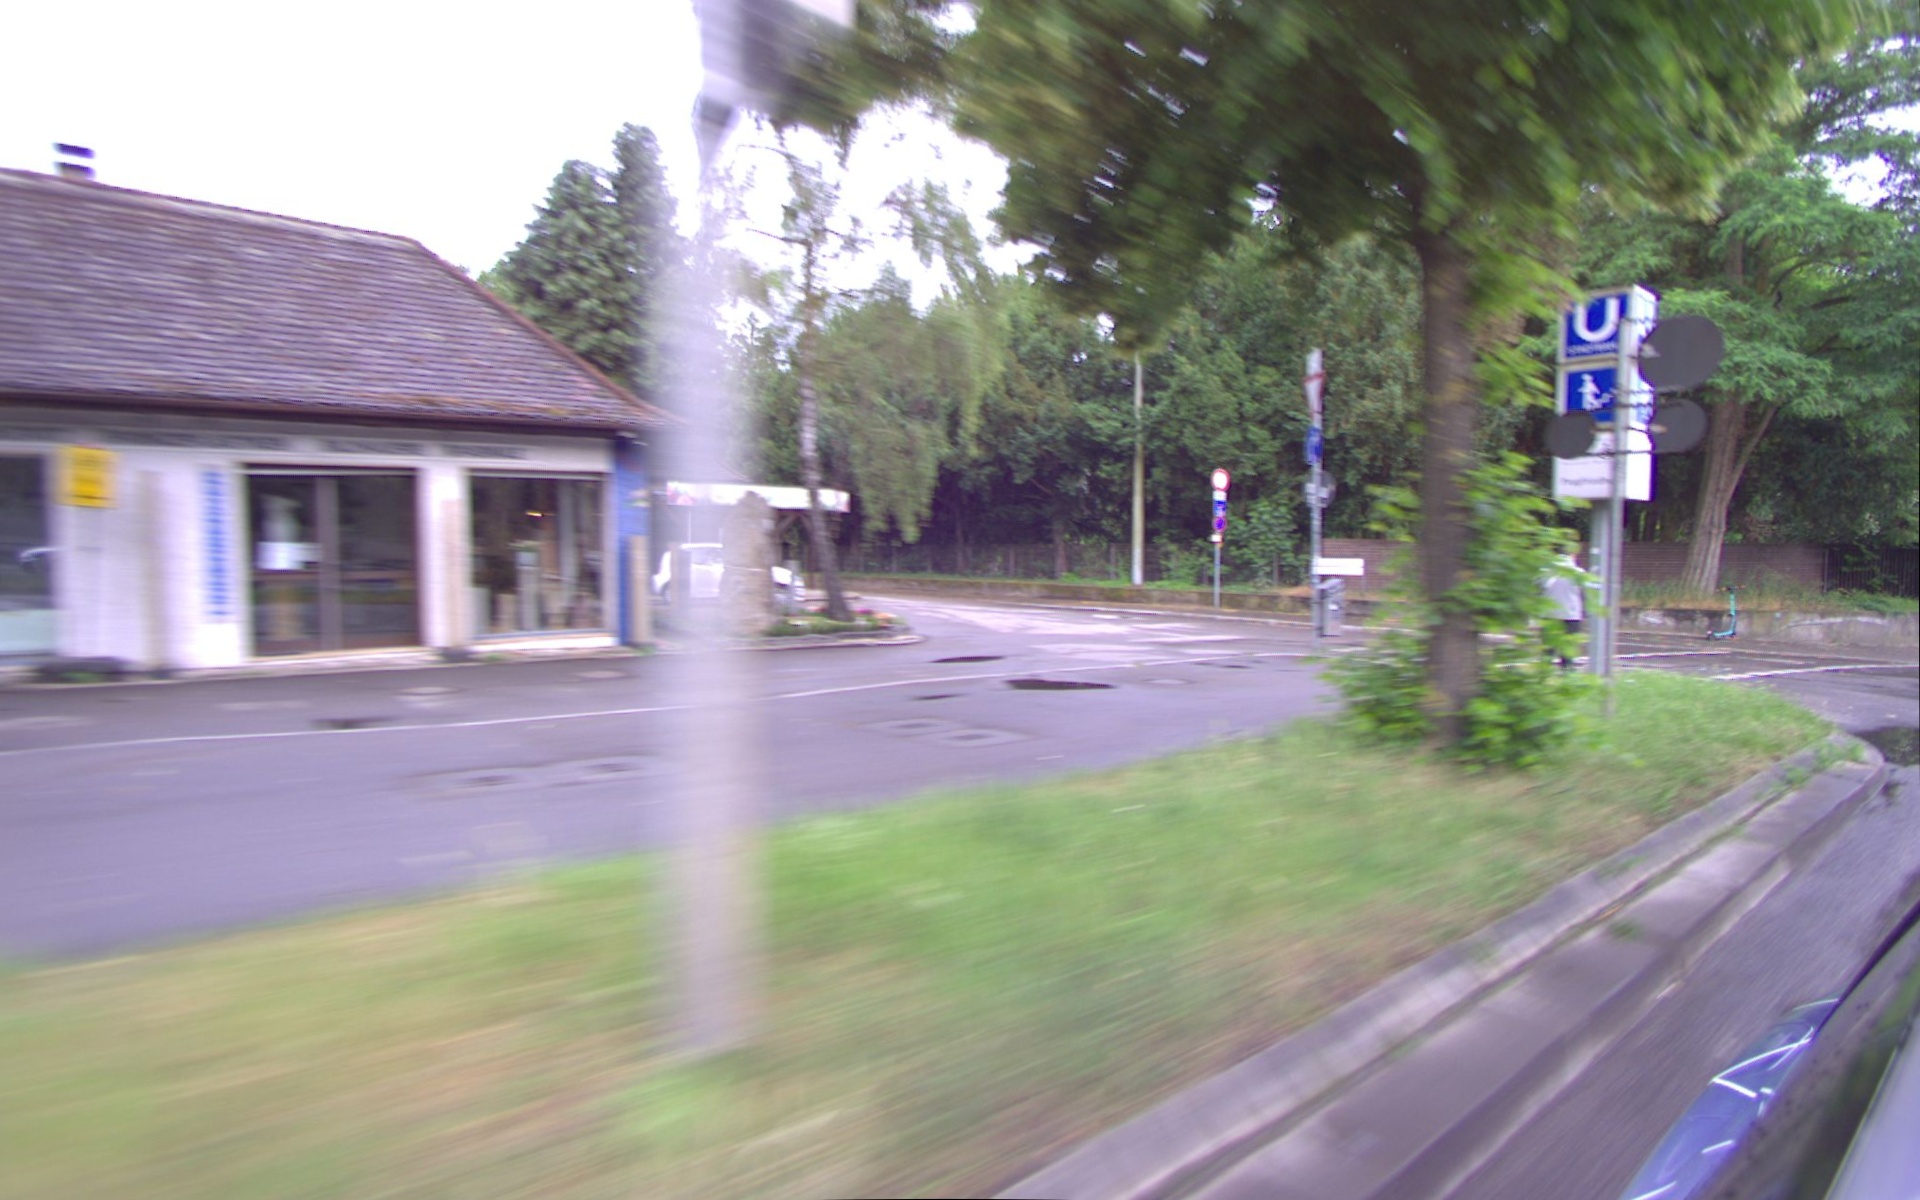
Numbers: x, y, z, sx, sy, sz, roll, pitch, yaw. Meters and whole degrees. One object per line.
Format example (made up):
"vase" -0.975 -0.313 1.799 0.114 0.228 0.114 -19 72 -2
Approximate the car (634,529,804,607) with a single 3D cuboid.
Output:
"car" -5.612 -0.763 23.797 3.683 1.597 1.838 2 3 -12

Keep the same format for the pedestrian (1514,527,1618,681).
"pedestrian" 7.698 0.035 12.862 0.723 1.876 0.857 1 2 -36

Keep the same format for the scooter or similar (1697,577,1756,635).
"scooter or similar" 17.322 0.125 22.870 1.288 1.245 0.517 0 5 -31
